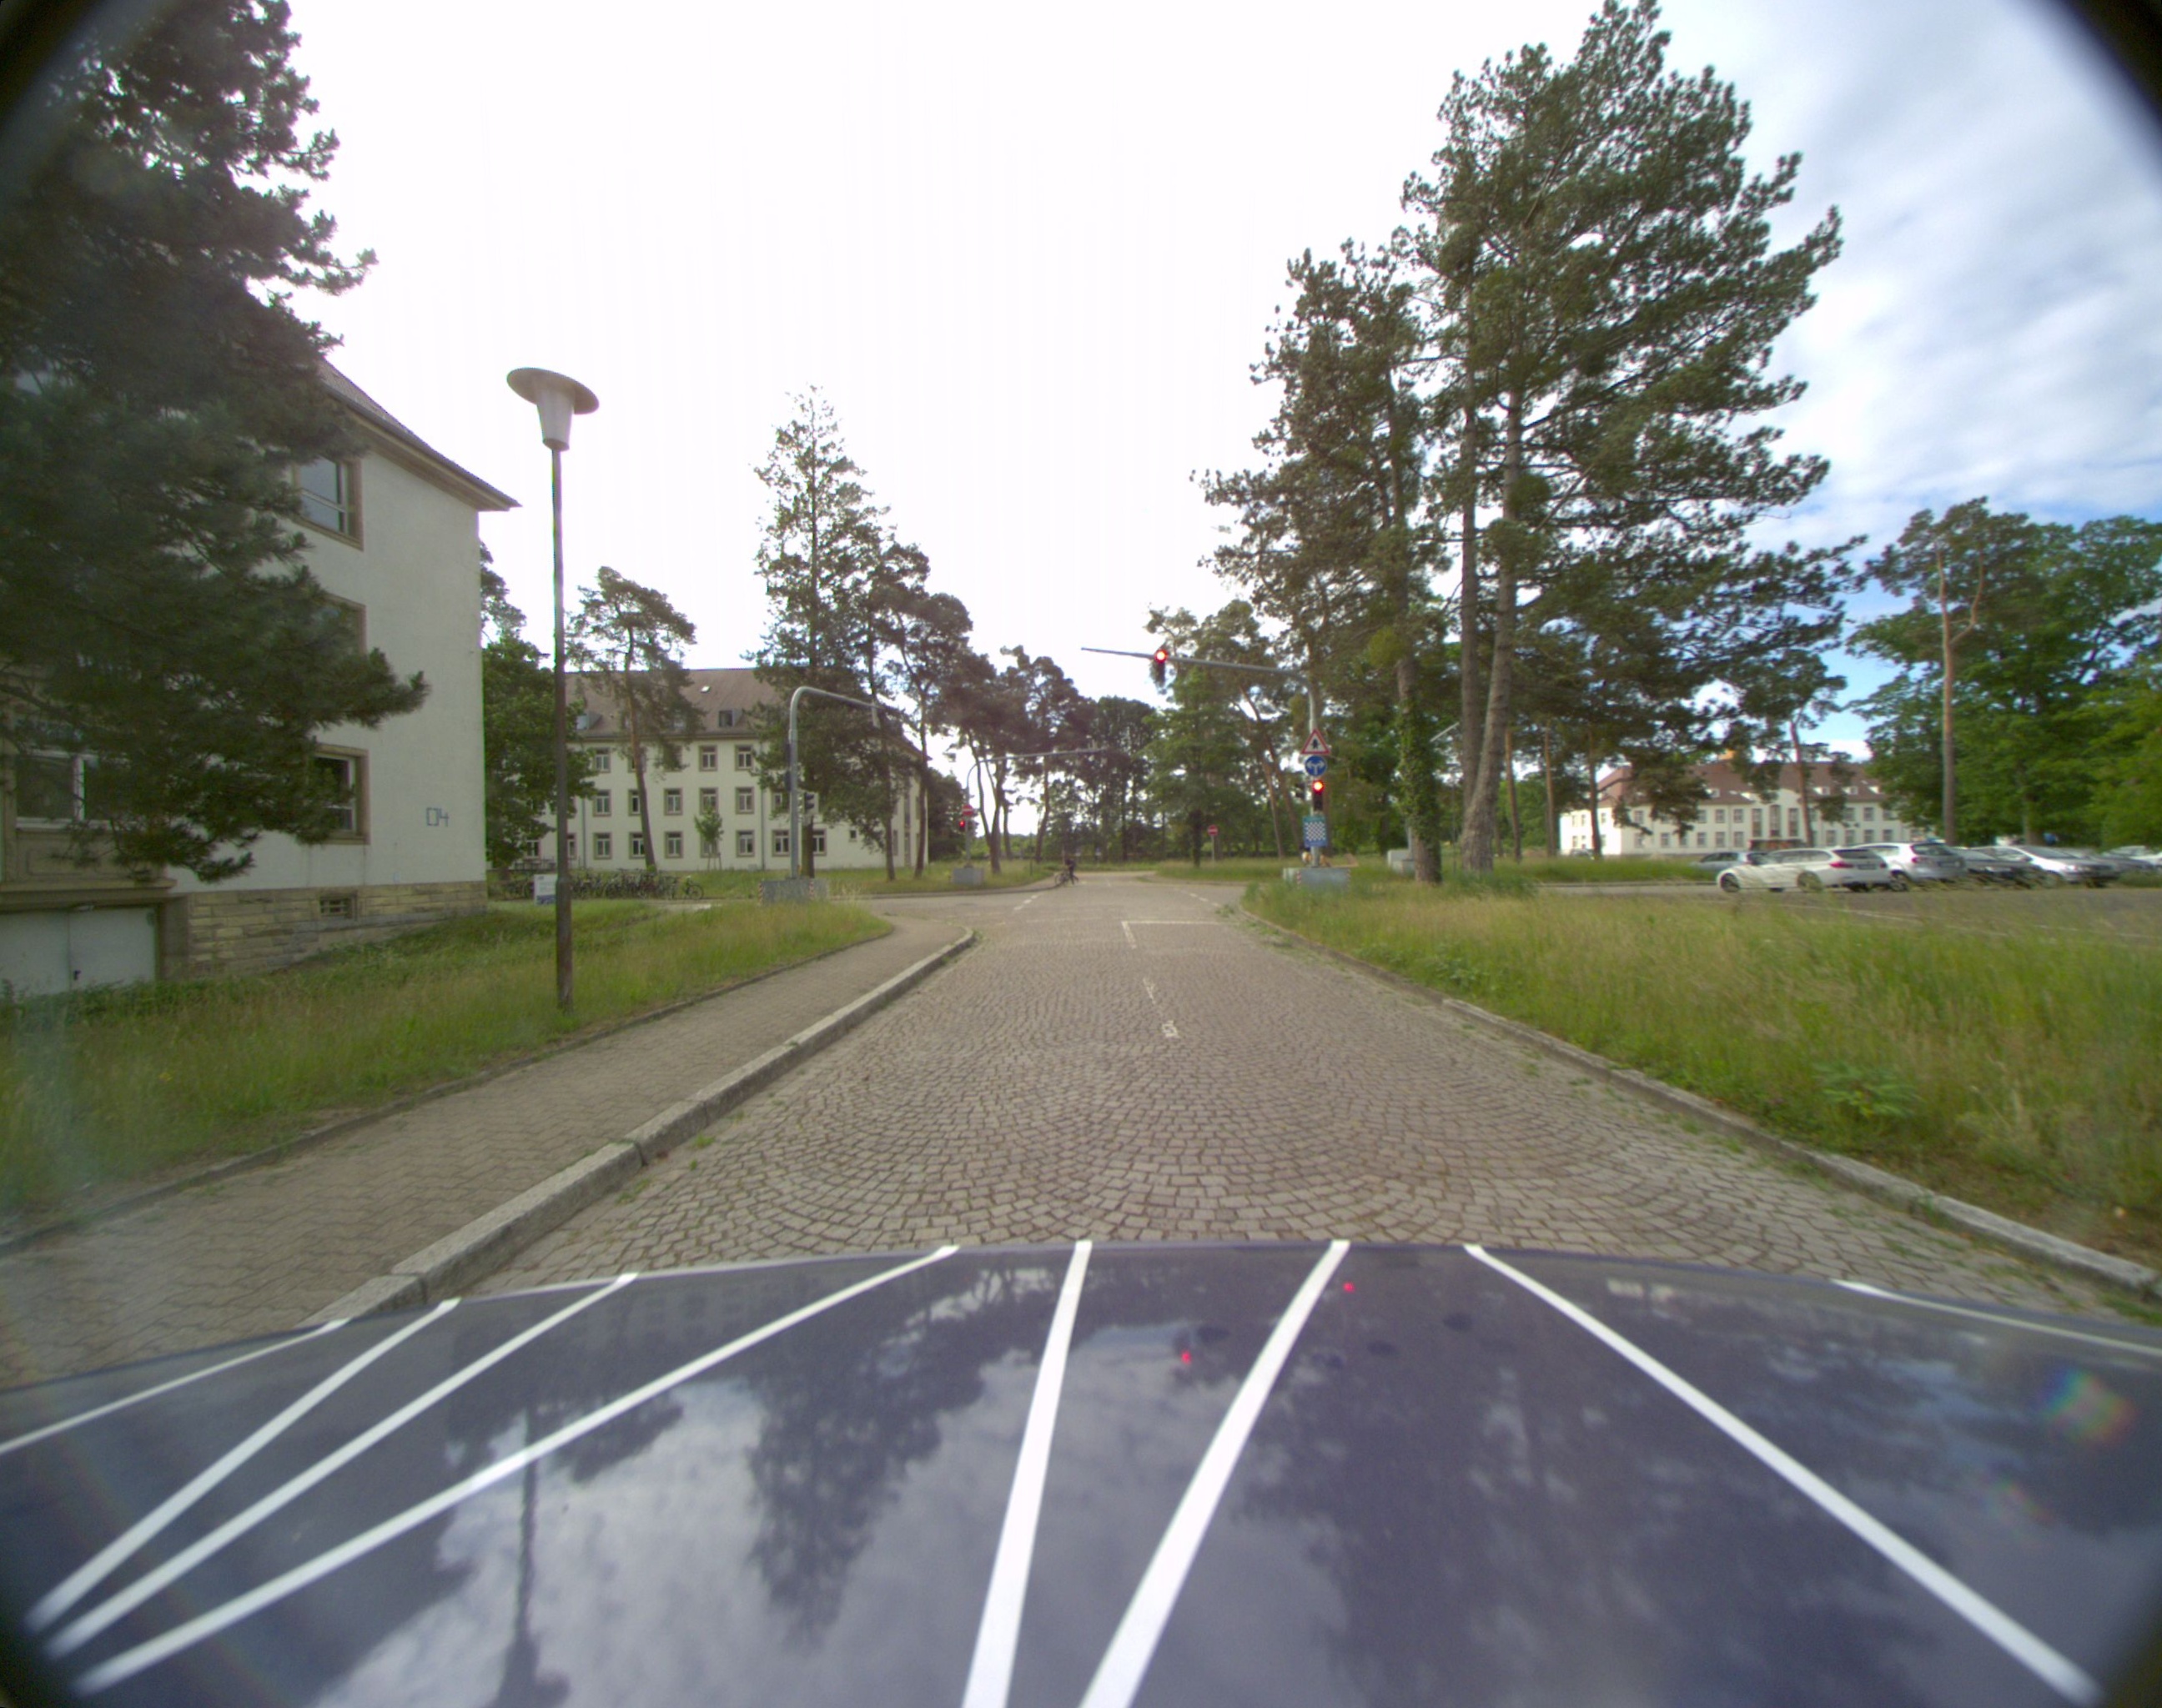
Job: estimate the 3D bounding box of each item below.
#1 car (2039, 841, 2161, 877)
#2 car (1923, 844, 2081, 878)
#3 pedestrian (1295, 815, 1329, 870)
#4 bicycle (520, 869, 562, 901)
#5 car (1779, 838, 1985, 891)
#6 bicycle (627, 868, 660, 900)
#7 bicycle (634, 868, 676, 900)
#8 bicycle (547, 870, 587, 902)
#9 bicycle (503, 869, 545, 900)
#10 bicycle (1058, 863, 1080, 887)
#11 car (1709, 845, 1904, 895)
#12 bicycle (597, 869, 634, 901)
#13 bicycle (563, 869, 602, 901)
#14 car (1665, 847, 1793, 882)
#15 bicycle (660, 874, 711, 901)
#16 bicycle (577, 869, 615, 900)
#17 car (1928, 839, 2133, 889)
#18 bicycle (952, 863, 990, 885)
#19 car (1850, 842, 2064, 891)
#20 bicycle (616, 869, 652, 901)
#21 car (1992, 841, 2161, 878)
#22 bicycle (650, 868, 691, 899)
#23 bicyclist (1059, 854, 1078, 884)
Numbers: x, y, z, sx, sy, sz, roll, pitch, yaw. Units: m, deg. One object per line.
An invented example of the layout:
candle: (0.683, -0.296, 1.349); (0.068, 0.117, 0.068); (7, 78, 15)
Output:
car: (49.222, 0.265, 35.974); (1.840, 1.564, 4.585); (-1, -2, -1)
car: (43.462, 0.386, 36.062); (1.840, 1.512, 4.585); (-1, -2, -1)
pedestrian: (6.468, -0.308, 21.311); (0.883, 1.509, 0.822); (-1, 0, 15)
bicycle: (-23.790, 1.343, 33.509); (0.572, 1.324, 1.837); (-1, 0, -4)
car: (26.125, 0.392, 25.065); (1.840, 1.568, 4.585); (-1, -2, -1)
bicycle: (-19.245, 1.314, 33.468); (0.482, 1.324, 1.837); (-1, 0, -4)
bicycle: (-18.748, 1.292, 33.449); (0.572, 1.324, 1.839); (-1, 0, 9)
bicycle: (-22.585, 1.376, 33.438); (0.572, 1.324, 1.837); (-1, 0, -4)
bicycle: (-24.503, 1.322, 33.449); (0.572, 1.324, 1.837); (-1, 0, -4)
bicycle: (-0.657, 1.172, 42.700); (0.963, 1.268, 2.164); (-1, 0, 5)
car: (23.514, 0.543, 24.924); (1.840, 1.441, 4.656); (-1, -2, -1)
bicycle: (-20.443, 1.361, 33.435); (0.572, 1.324, 1.837); (-1, 0, -4)
bicycle: (-21.864, 1.344, 33.375); (0.572, 1.324, 1.837); (-1, 0, -4)
car: (30.726, 0.531, 36.256); (1.841, 1.537, 4.583); (-1, -2, -7)
bicycle: (-16.577, 1.412, 31.849); (1.836, 1.079, 0.573); (-1, 2, 4)
bicycle: (-21.299, 1.319, 33.393); (0.572, 1.324, 1.837); (-1, 0, -4)
car: (31.530, 0.363, 25.459); (1.736, 1.512, 4.115); (-1, -2, 1)
bicycle: (-5.700, 1.051, 39.488); (1.836, 1.079, 0.572); (-1, 2, -1)
car: (28.779, 0.448, 25.234); (1.839, 1.460, 4.586); (-1, -2, 1)
bicycle: (-19.677, 1.333, 33.487); (0.572, 1.324, 1.837); (-1, 0, -4)
car: (46.196, 0.319, 35.416); (1.840, 1.549, 4.585); (-1, -2, -1)
bicycle: (-18.119, 1.287, 33.554); (0.572, 1.324, 1.839); (-1, 0, 9)
bicyclist: (-0.690, 0.844, 42.664); (0.963, 1.625, 0.918); (-1, 0, 5)
